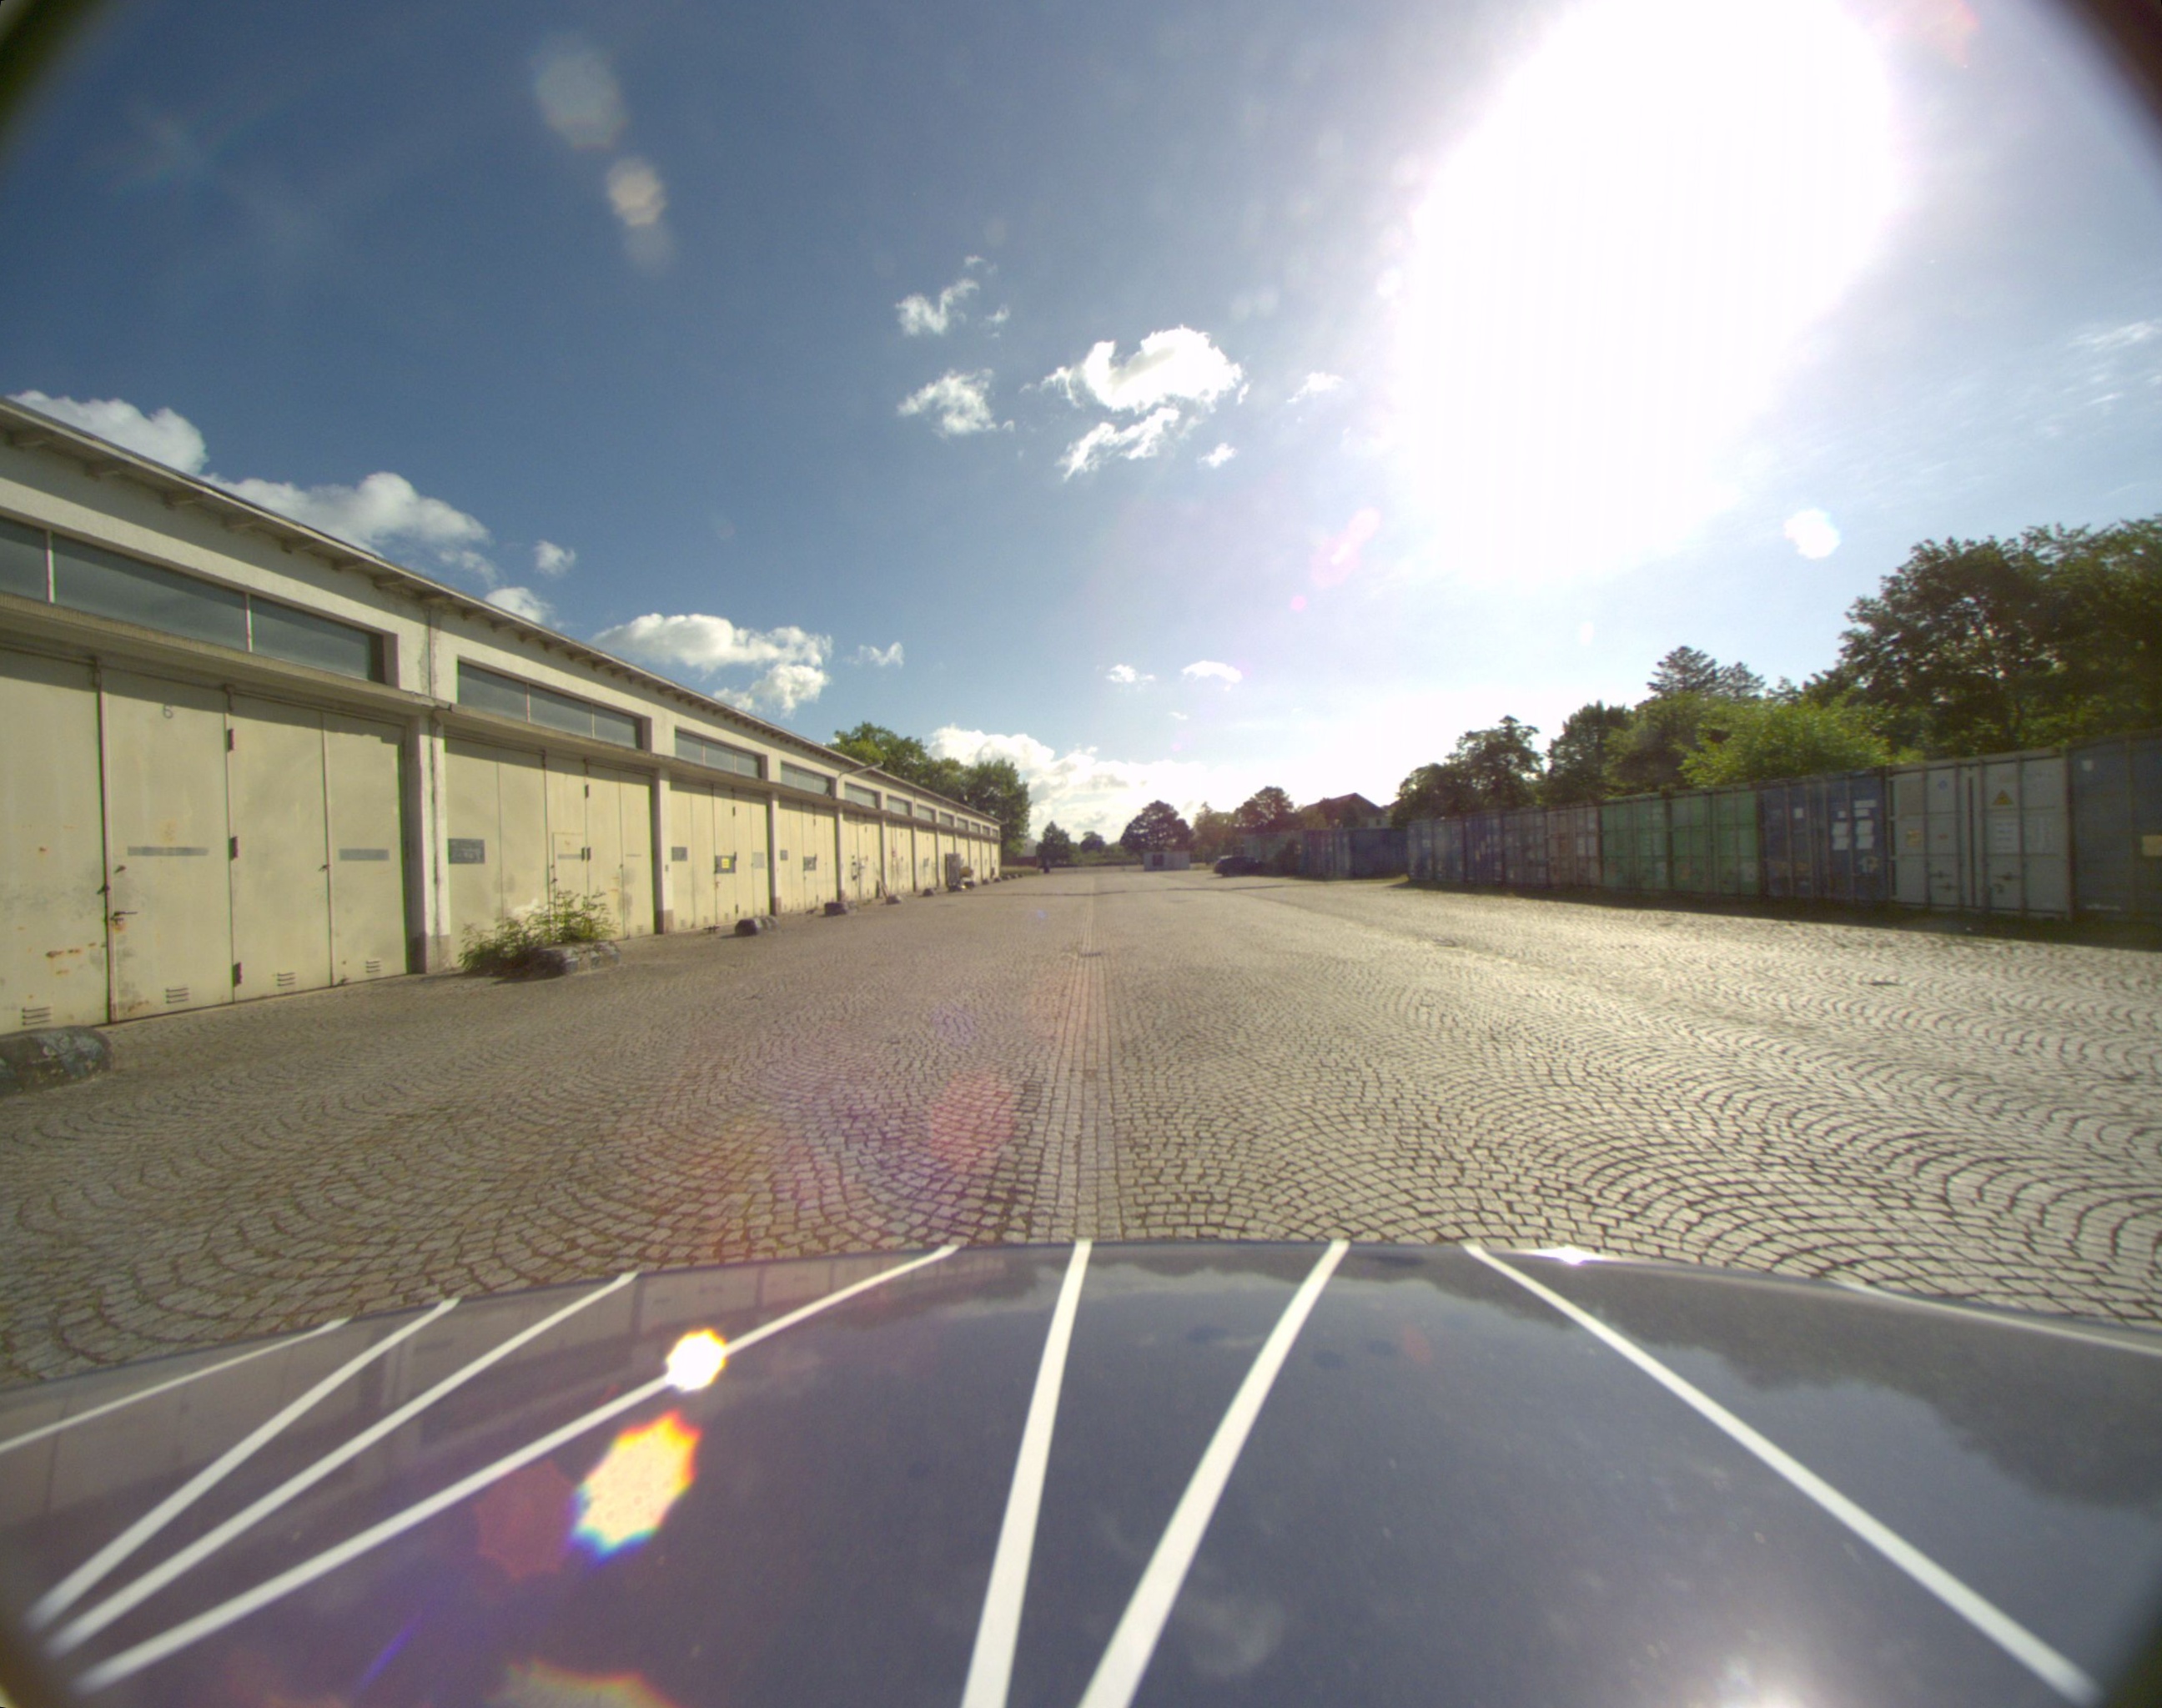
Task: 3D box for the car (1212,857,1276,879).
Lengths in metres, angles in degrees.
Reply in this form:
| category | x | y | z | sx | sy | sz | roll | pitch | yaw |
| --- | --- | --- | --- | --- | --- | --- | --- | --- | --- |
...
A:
| category | x | y | z | sx | sy | sz | roll | pitch | yaw |
| --- | --- | --- | --- | --- | --- | --- | --- | --- | --- |
| car | 11.692 | 1.004 | 54.686 | 4.112 | 1.289 | 2.000 | -4 | 0 | -1 |
